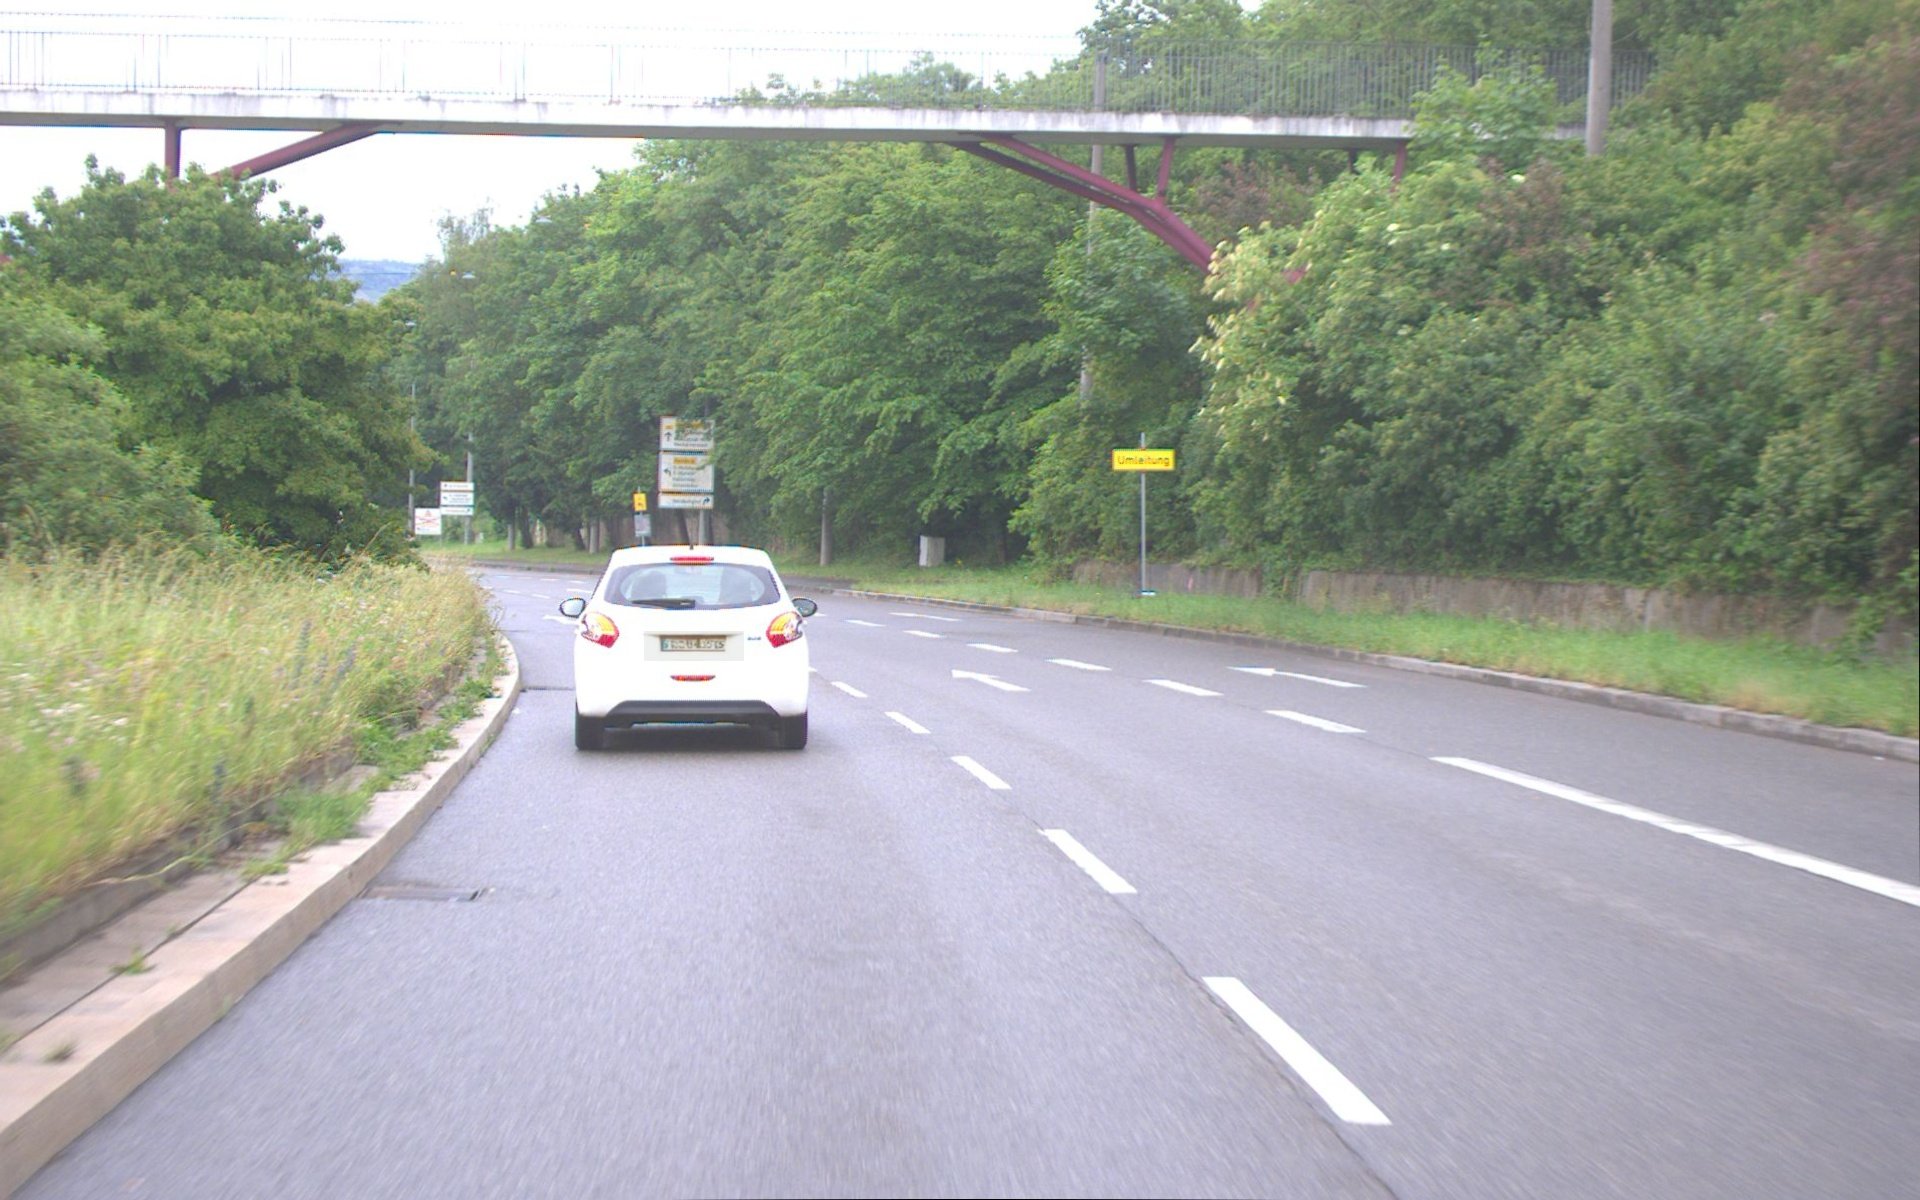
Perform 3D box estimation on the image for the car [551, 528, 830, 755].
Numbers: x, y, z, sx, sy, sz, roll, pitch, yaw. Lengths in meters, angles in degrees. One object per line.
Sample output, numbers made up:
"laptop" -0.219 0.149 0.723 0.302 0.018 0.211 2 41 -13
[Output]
"car" -2.108 0.254 25.916 1.868 1.505 3.901 1 2 -7
